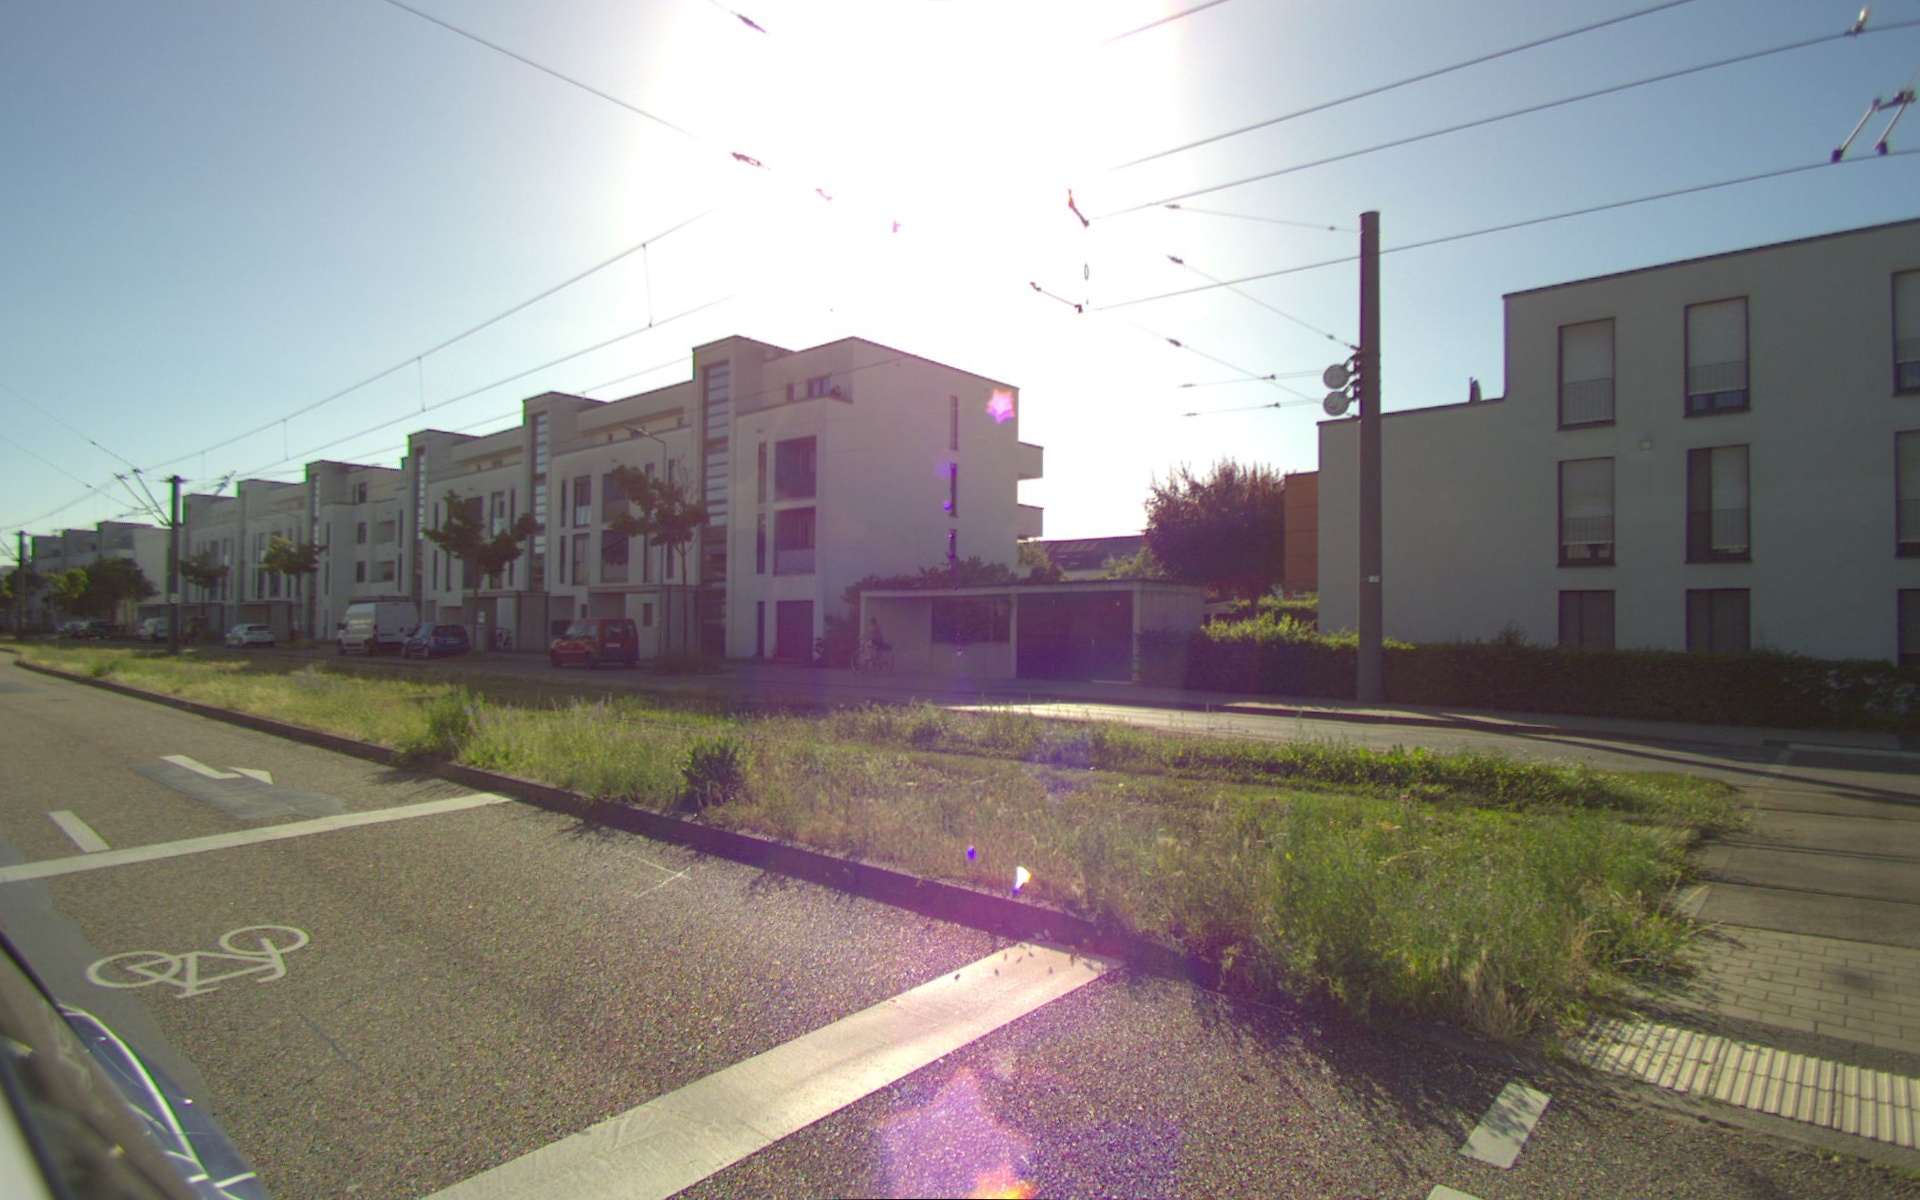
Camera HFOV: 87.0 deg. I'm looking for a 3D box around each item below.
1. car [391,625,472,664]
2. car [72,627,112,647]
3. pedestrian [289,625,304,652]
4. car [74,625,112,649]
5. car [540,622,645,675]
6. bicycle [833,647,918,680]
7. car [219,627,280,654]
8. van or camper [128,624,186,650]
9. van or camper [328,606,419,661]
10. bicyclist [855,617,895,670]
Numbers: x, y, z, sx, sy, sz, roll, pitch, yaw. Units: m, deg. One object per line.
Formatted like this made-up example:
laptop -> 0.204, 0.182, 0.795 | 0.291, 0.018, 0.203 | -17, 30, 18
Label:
car -> -23.060, 1.907, 44.109 | 3.835, 1.625, 1.909 | -1, -3, 42
car -> -70.361, 2.964, 82.014 | 3.492, 1.449, 1.844 | 0, 0, 38
pedestrian -> -41.494, 2.382, 63.299 | 0.611, 1.656, 0.612 | -1, -1, 35
car -> -74.843, 3.183, 87.374 | 3.995, 2.029, 1.765 | -1, -1, 39
car -> -12.761, 1.659, 35.050 | 3.908, 1.736, 1.769 | -1, -4, 43
bicycle -> -2.463, 1.827, 29.386 | 2.479, 0.899, 0.891 | -1, -3, 37
car -> -43.574, 2.488, 62.046 | 4.117, 1.598, 2.021 | -1, -3, 39
van or camper -> -60.185, 2.704, 75.802 | 6.282, 1.862, 2.243 | -1, -2, 41
van or camper -> -28.169, 1.606, 48.539 | 5.258, 2.484, 2.169 | -1, -3, 42
bicyclist -> -2.467, 1.256, 29.404 | 0.744, 1.502, 0.881 | -1, -3, 36
